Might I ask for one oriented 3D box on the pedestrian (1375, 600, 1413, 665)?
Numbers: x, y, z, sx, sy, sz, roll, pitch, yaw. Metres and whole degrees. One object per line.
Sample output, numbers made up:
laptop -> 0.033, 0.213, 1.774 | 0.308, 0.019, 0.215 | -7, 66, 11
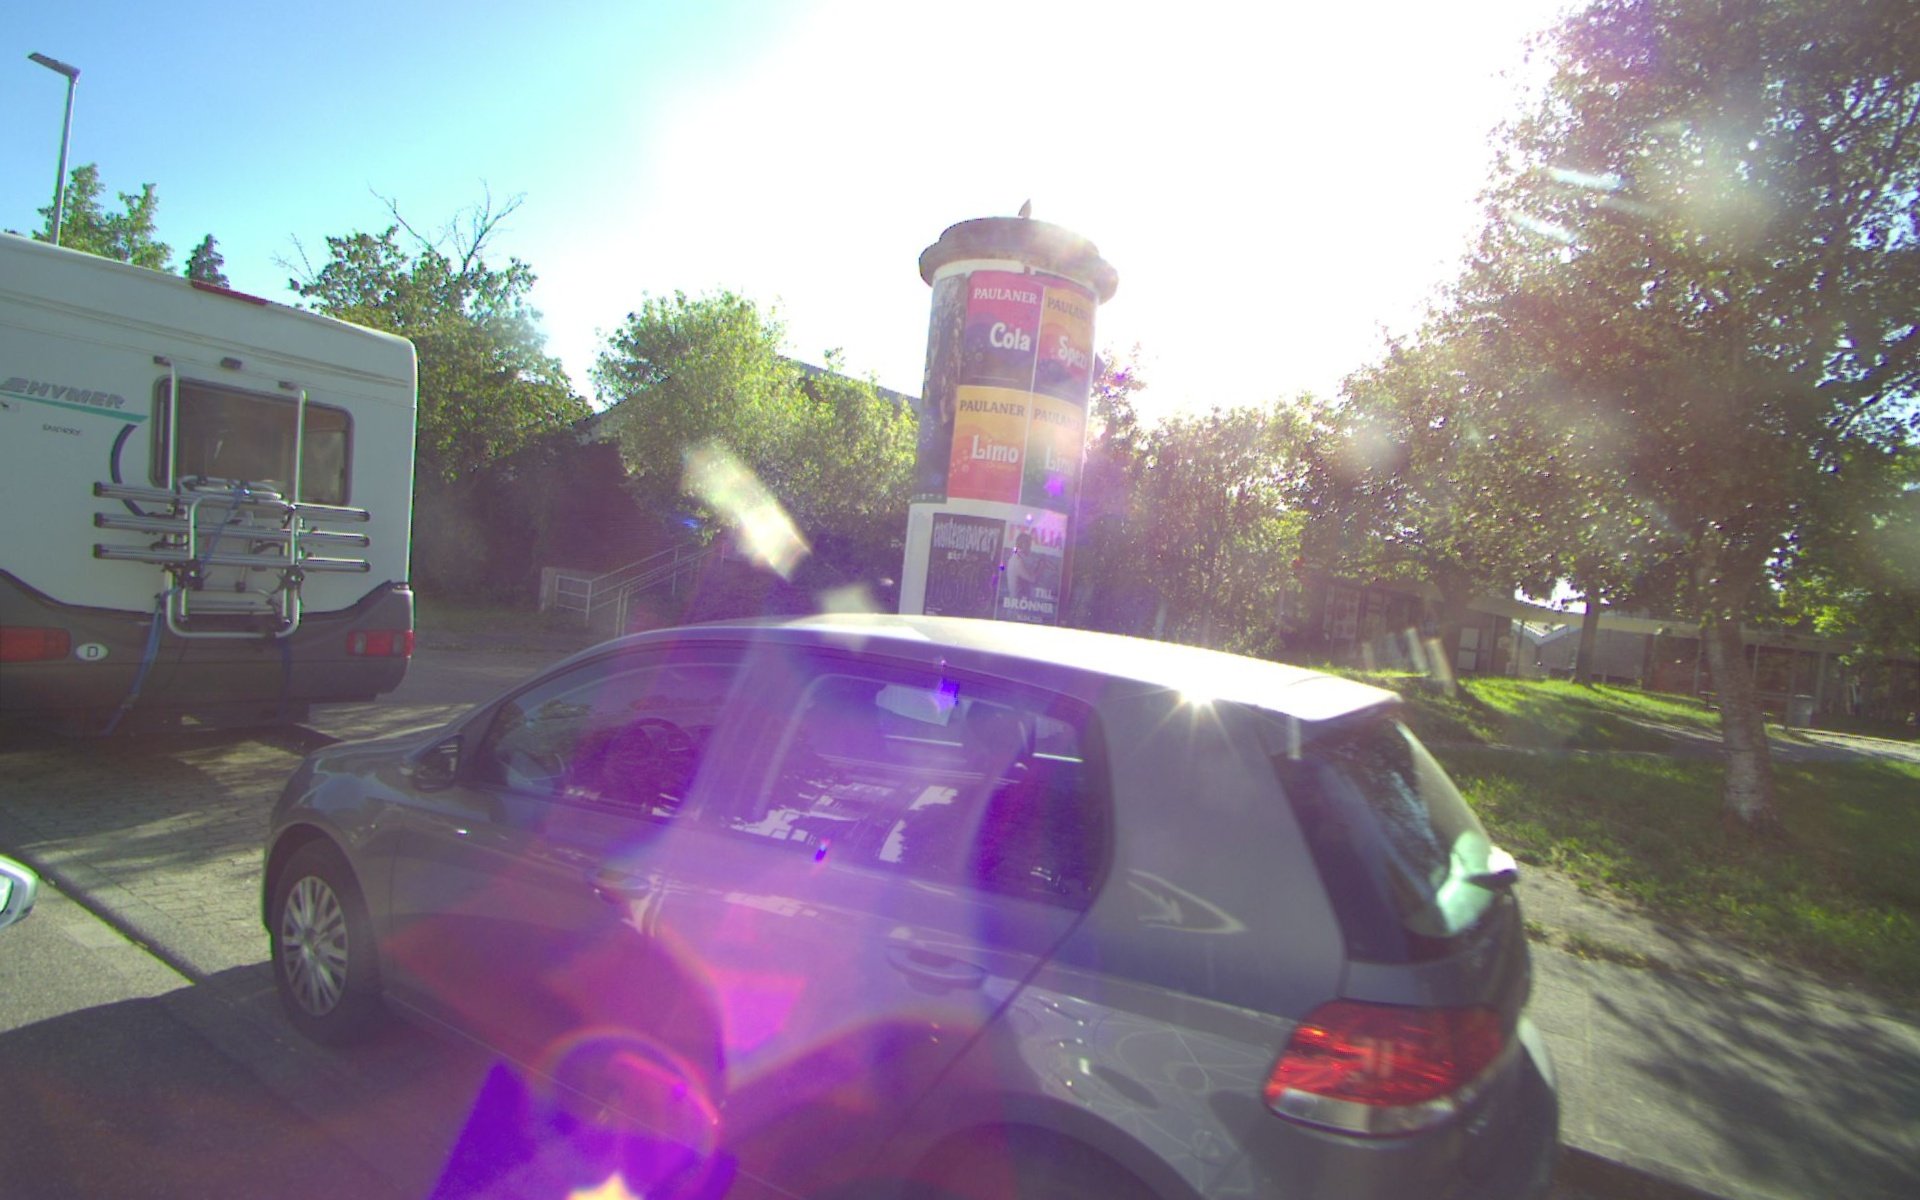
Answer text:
pedestrian -> 14.345, 1.072, 33.282 | 0.841, 2.039, 0.636 | 7, 1, 16

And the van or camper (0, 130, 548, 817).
van or camper -> -6.218, -0.782, 7.032 | 6.737, 2.881, 2.498 | 7, 1, 32

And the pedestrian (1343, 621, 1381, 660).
pedestrian -> 14.471, 1.452, 36.221 | 0.831, 1.288, 0.762 | 6, 1, -27

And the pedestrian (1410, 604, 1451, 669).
pedestrian -> 15.449, 1.195, 33.045 | 0.825, 2.039, 0.636 | 6, 1, 5

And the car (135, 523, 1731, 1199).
car -> -0.557, 0.740, 3.126 | 4.354, 1.545, 1.720 | 7, 4, 31
